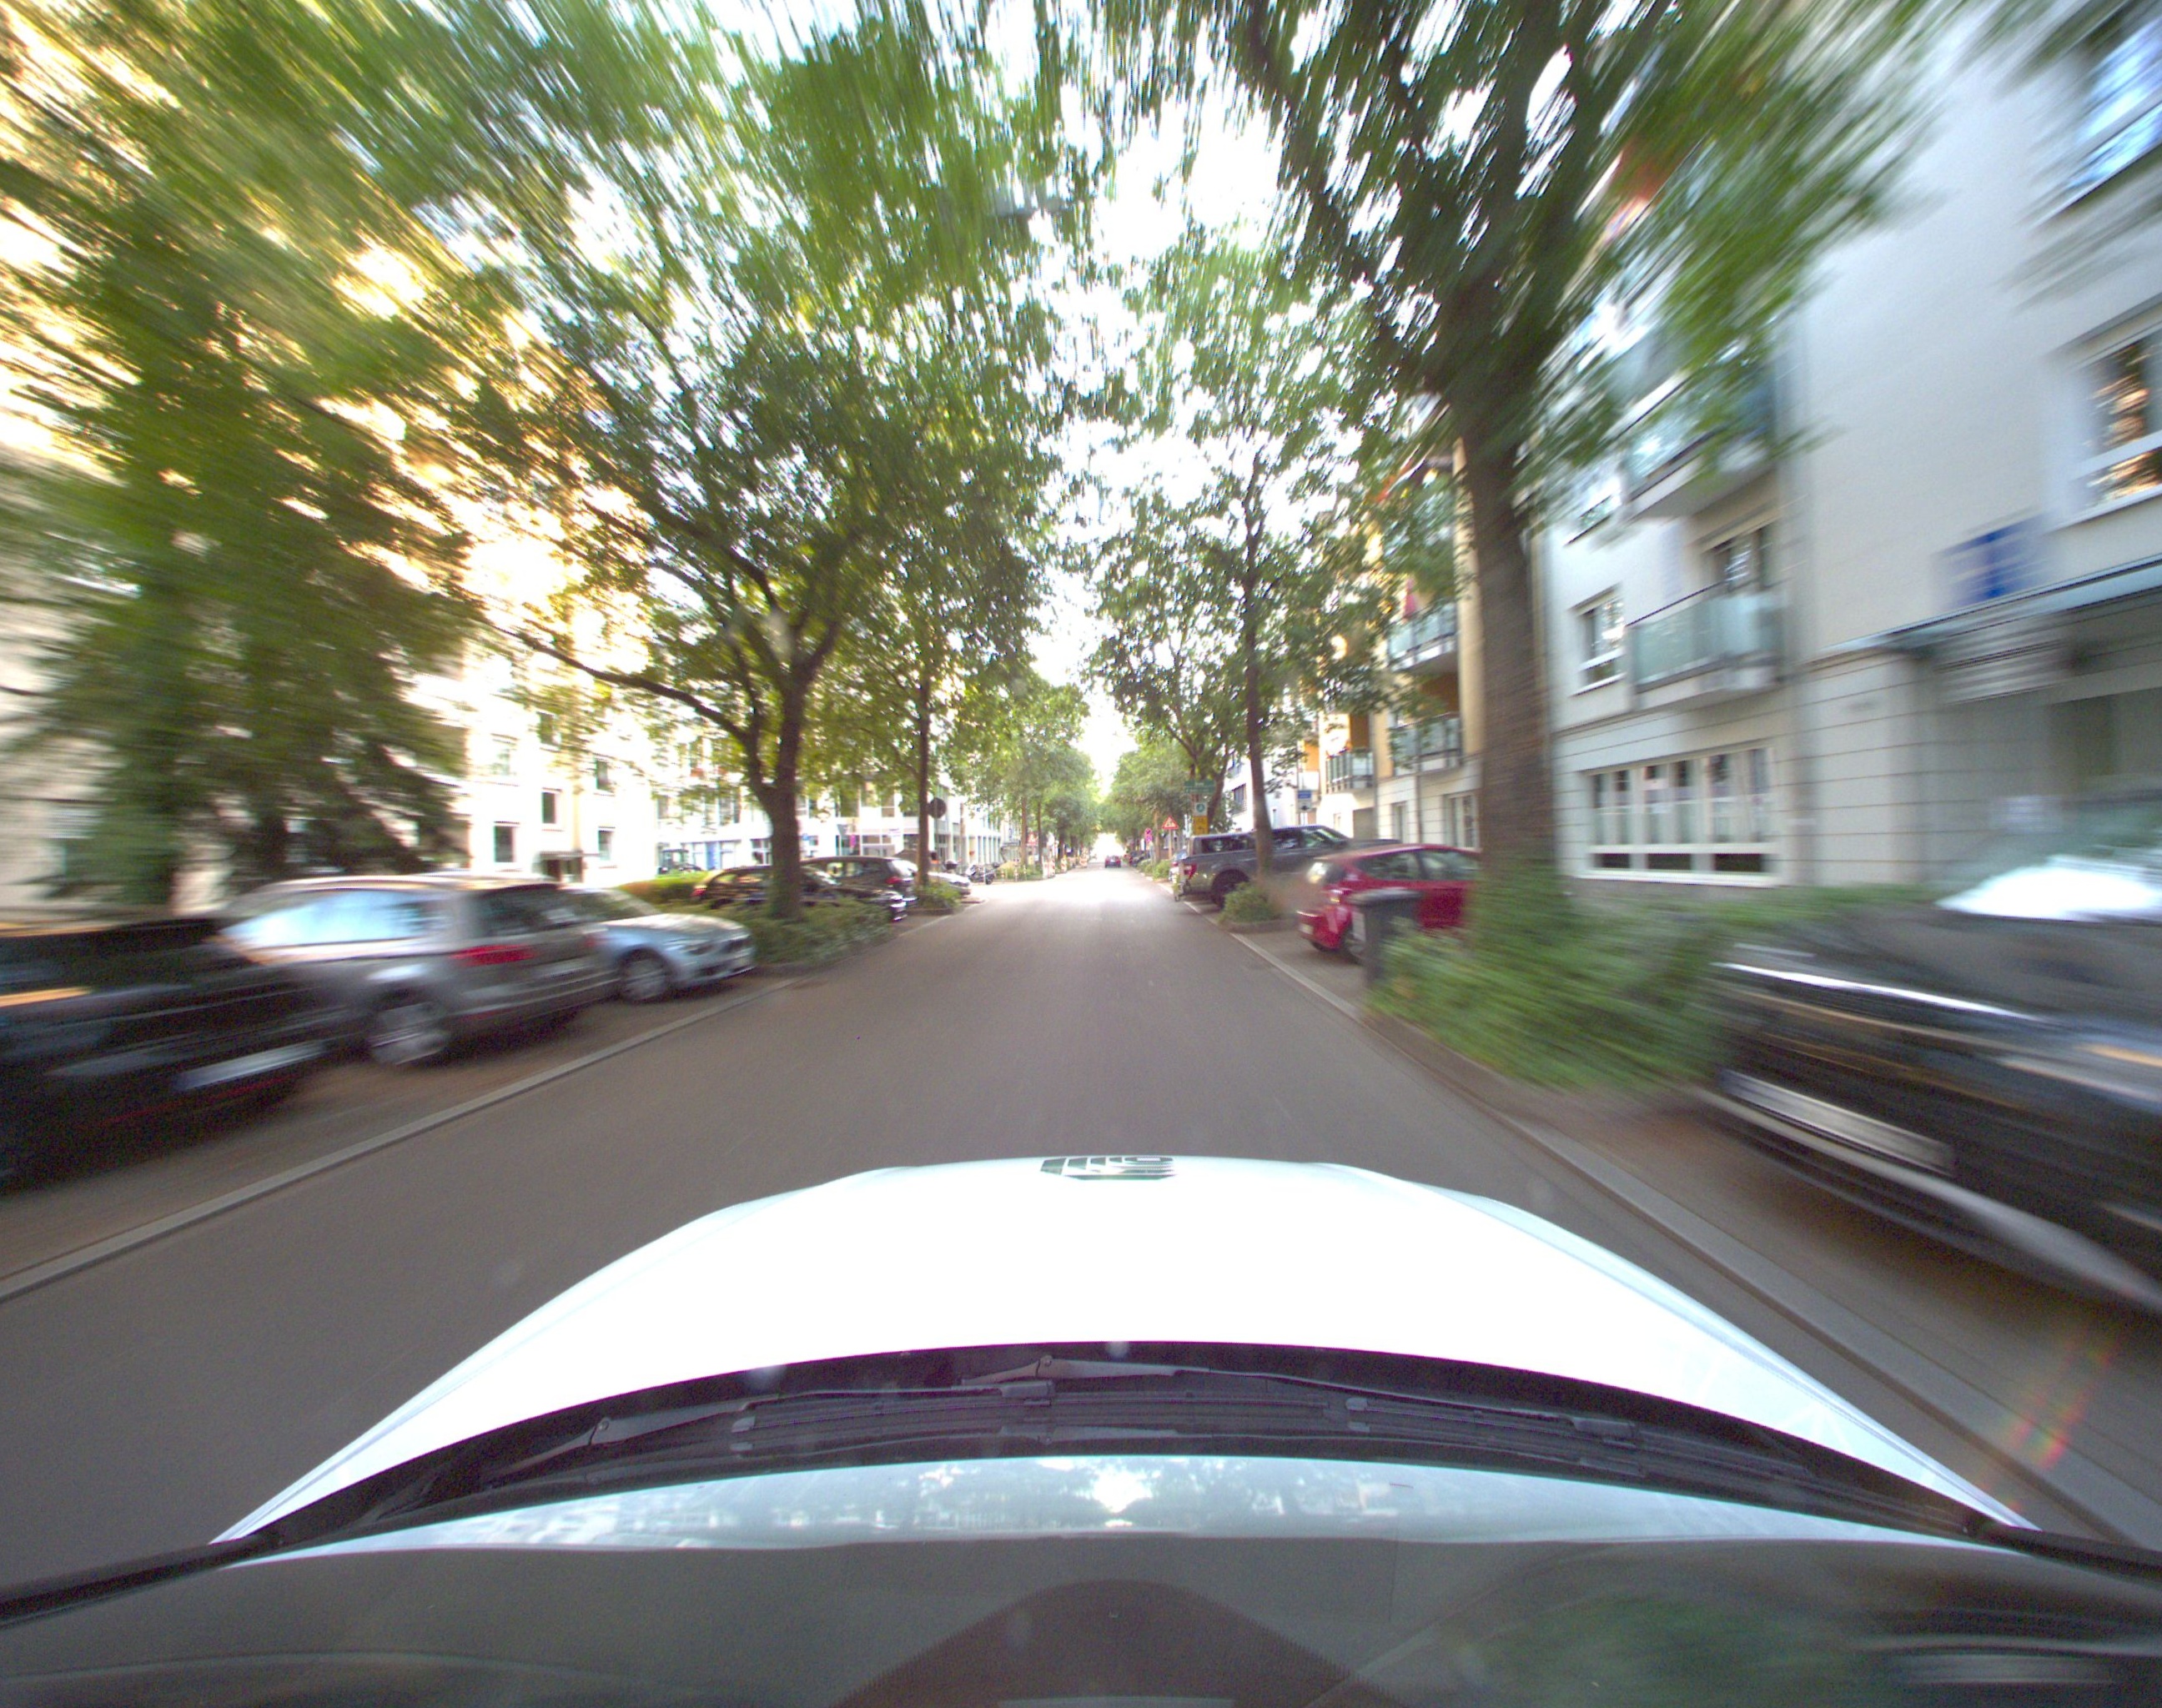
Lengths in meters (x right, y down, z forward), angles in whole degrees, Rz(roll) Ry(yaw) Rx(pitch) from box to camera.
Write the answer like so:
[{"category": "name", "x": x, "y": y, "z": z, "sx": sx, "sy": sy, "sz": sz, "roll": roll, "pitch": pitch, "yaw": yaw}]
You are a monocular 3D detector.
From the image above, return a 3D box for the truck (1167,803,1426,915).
[{"category": "truck", "x": 5.399, "y": 0.120, "z": 21.097, "sx": 5.982, "sy": 2.133, "sz": 2.262, "roll": -6, "pitch": 0, "yaw": 1}]

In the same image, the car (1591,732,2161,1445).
[{"category": "car", "x": 4.659, "y": 0.393, "z": 2.980, "sx": 4.374, "sy": 1.703, "sz": 1.893, "roll": -5, "pitch": 0, "yaw": -4}]

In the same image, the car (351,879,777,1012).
[{"category": "car", "x": -6.132, "y": 1.052, "z": 10.031, "sx": 4.087, "sy": 1.379, "sz": 1.746, "roll": -1, "pitch": 0, "yaw": -1}]

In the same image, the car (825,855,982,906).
[{"category": "car", "x": -5.559, "y": 0.824, "z": 25.981, "sx": 4.480, "sy": 1.581, "sz": 2.056, "roll": 0, "pitch": -1, "yaw": 2}]

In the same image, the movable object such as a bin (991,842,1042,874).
[{"category": "movable object such as a bin", "x": -5.000, "y": 0.306, "z": 63.667, "sx": 3.653, "sy": 2.333, "sz": 2.583, "roll": -2, "pitch": 0, "yaw": 0}]

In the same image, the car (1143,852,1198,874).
[{"category": "car", "x": 7.397, "y": 0.732, "z": 67.806, "sx": 4.417, "sy": 1.591, "sz": 1.630, "roll": -2, "pitch": 0, "yaw": 4}]

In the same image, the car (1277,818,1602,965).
[{"category": "car", "x": 4.842, "y": 0.500, "z": 11.404, "sx": 3.653, "sy": 1.548, "sz": 1.780, "roll": -5, "pitch": -1, "yaw": -1}]

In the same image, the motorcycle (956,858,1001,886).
[{"category": "motorcycle", "x": -5.750, "y": 1.010, "z": 45.656, "sx": 2.391, "sy": 1.440, "sz": 0.792, "roll": -2, "pitch": 0, "yaw": -38}]

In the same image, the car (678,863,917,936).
[{"category": "car", "x": -6.331, "y": 0.994, "z": 18.642, "sx": 4.701, "sy": 1.424, "sz": 2.071, "roll": -1, "pitch": 0, "yaw": -1}]

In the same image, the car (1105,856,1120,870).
[{"category": "car", "x": 3.445, "y": 0.943, "z": 88.896, "sx": 1.494, "sy": 1.416, "sz": 3.715, "roll": -2, "pitch": 0, "yaw": 2}]

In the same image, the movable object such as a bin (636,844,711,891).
[{"category": "movable object such as a bin", "x": -23.937, "y": 0.794, "z": 47.823, "sx": 4.059, "sy": 2.634, "sz": 1.813, "roll": -2, "pitch": 0, "yaw": 26}]

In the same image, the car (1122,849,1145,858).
[{"category": "car", "x": 9.759, "y": -0.030, "z": 152.030, "sx": 3.976, "sy": 1.597, "sz": 1.999, "roll": -2, "pitch": 0, "yaw": -2}]

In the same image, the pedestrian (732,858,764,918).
[{"category": "pedestrian", "x": -8.907, "y": 0.903, "z": 21.786, "sx": 0.653, "sy": 1.572, "sz": 0.451, "roll": -2, "pitch": 0, "yaw": 27}]

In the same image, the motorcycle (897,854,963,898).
[{"category": "motorcycle", "x": -5.466, "y": 0.793, "z": 29.574, "sx": 2.207, "sy": 1.493, "sz": 0.692, "roll": -2, "pitch": 0, "yaw": 3}]

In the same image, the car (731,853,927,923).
[{"category": "car", "x": -6.354, "y": 0.828, "z": 20.957, "sx": 4.382, "sy": 1.684, "sz": 2.064, "roll": 0, "pitch": 0, "yaw": -1}]

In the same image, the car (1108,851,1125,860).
[{"category": "car", "x": 8.660, "y": 0.431, "z": 196.036, "sx": 3.970, "sy": 2.013, "sz": 2.002, "roll": -2, "pitch": 0, "yaw": 3}]

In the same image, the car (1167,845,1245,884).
[{"category": "car", "x": 5.803, "y": 0.475, "z": 38.052, "sx": 3.337, "sy": 1.526, "sz": 1.747, "roll": -4, "pitch": 0, "yaw": 2}]

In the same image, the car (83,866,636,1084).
[{"category": "car", "x": -6.288, "y": 0.984, "z": 7.440, "sx": 3.394, "sy": 1.609, "sz": 1.760, "roll": -2, "pitch": 0, "yaw": -1}]

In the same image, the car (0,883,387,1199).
[{"category": "car", "x": -6.613, "y": 1.010, "z": 4.887, "sx": 3.394, "sy": 1.506, "sz": 1.664, "roll": -2, "pitch": 0, "yaw": -1}]

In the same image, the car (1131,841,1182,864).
[{"category": "car", "x": 7.502, "y": -0.184, "z": 81.310, "sx": 4.953, "sy": 2.087, "sz": 1.739, "roll": -2, "pitch": 0, "yaw": 1}]

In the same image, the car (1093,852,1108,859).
[{"category": "car", "x": 5.678, "y": 0.528, "z": 237.592, "sx": 3.982, "sy": 1.914, "sz": 1.774, "roll": -2, "pitch": 0, "yaw": -6}]

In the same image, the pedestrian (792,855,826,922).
[{"category": "pedestrian", "x": -7.470, "y": 0.945, "z": 22.394, "sx": 0.702, "sy": 1.788, "sz": 0.523, "roll": -2, "pitch": 0, "yaw": -38}]

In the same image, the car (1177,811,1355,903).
[{"category": "car", "x": 5.286, "y": 0.093, "z": 23.817, "sx": 4.603, "sy": 2.133, "sz": 2.037, "roll": -6, "pitch": 0, "yaw": 1}]

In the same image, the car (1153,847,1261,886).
[{"category": "car", "x": 5.460, "y": 0.538, "z": 35.467, "sx": 4.278, "sy": 1.508, "sz": 1.866, "roll": -2, "pitch": 0, "yaw": -9}]

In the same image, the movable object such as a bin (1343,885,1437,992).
[{"category": "movable object such as a bin", "x": 3.332, "y": 0.898, "z": 8.833, "sx": 0.772, "sy": 1.068, "sz": 0.589, "roll": -2, "pitch": 0, "yaw": 1}]

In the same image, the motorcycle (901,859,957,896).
[{"category": "motorcycle", "x": -5.954, "y": 0.937, "z": 31.868, "sx": 2.195, "sy": 1.374, "sz": 0.728, "roll": -2, "pitch": 0, "yaw": 32}]

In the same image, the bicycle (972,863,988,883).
[{"category": "bicycle", "x": -6.070, "y": 1.135, "z": 49.040, "sx": 0.599, "sy": 1.118, "sz": 1.801, "roll": -2, "pitch": 1, "yaw": 2}]

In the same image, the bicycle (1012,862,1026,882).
[{"category": "bicycle", "x": -3.725, "y": 1.077, "z": 49.325, "sx": 0.599, "sy": 1.118, "sz": 1.801, "roll": -2, "pitch": 1, "yaw": 2}]
